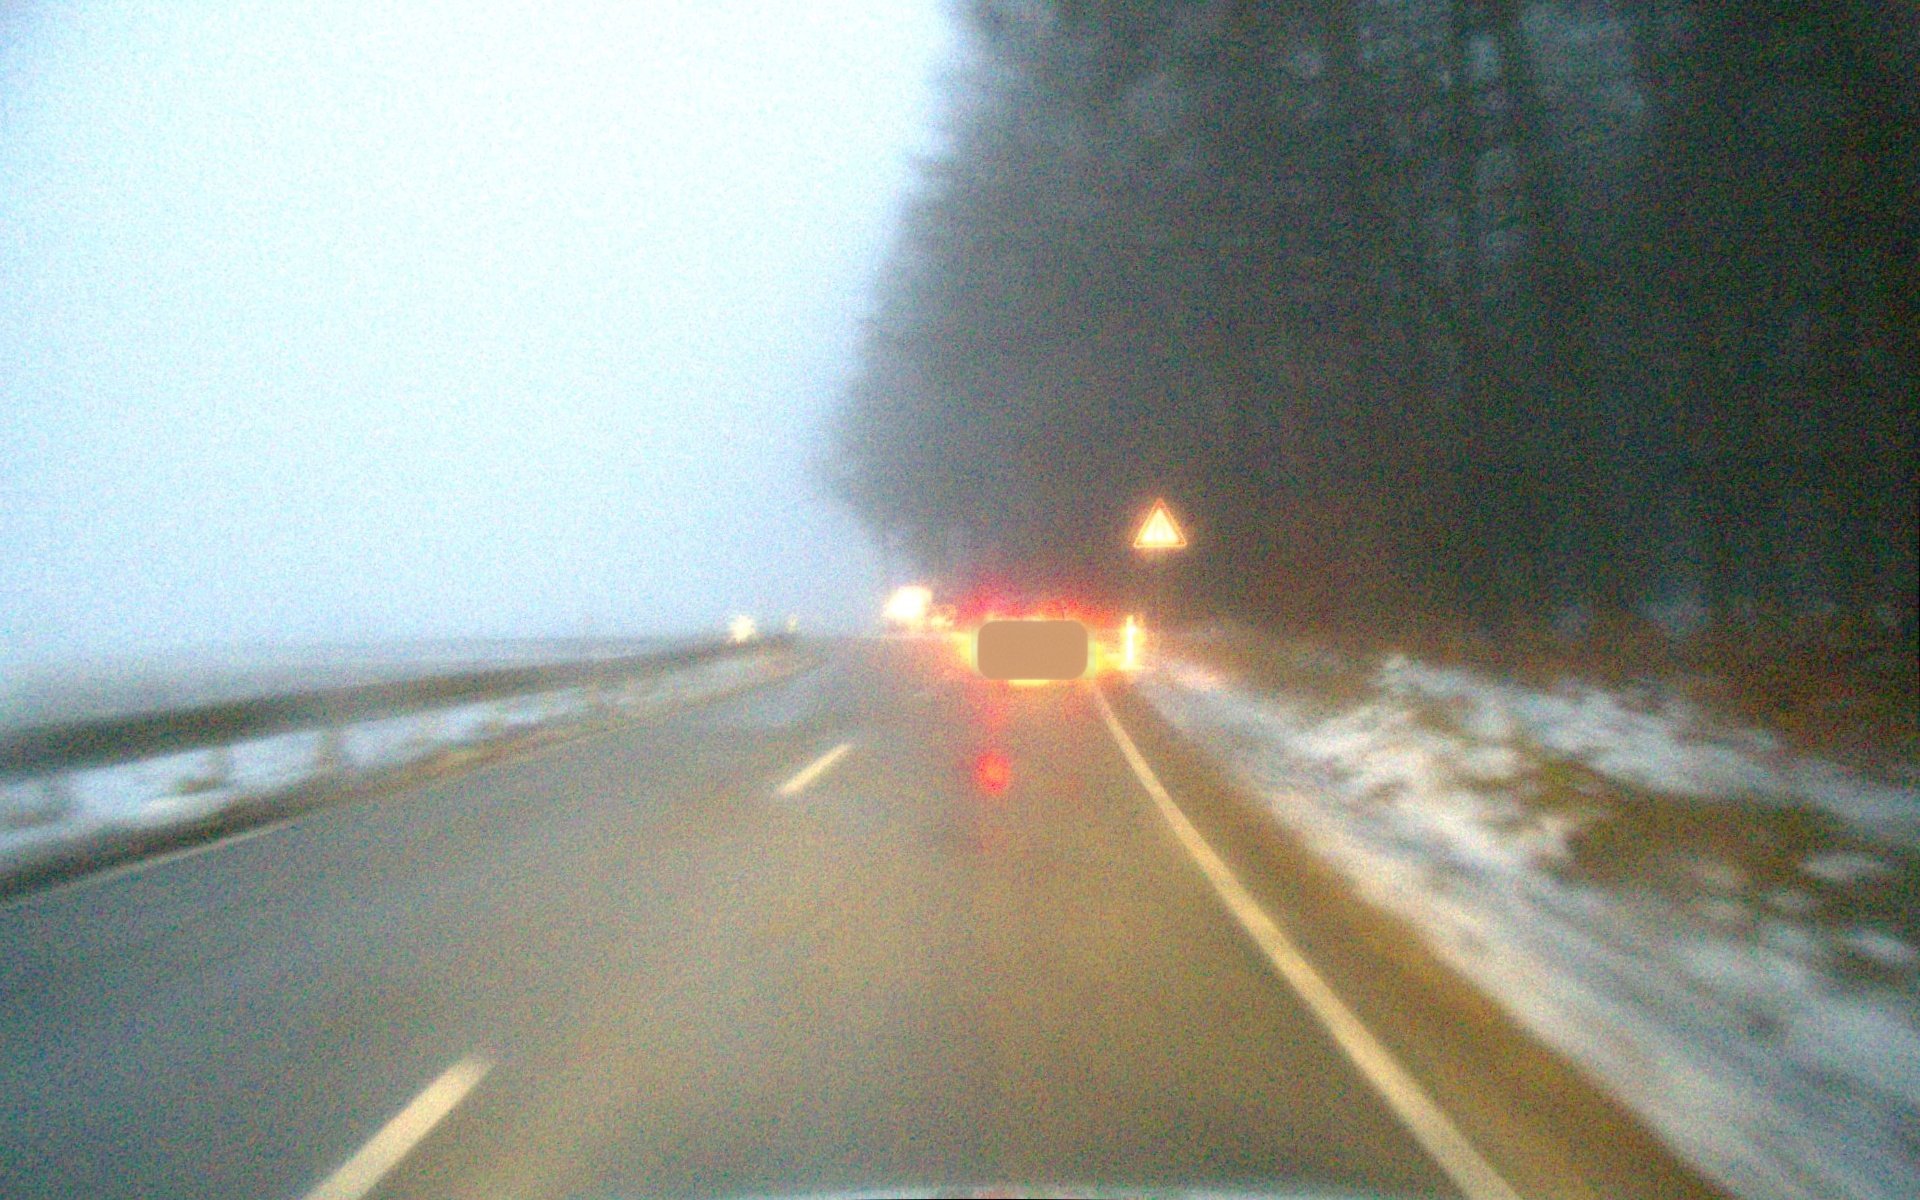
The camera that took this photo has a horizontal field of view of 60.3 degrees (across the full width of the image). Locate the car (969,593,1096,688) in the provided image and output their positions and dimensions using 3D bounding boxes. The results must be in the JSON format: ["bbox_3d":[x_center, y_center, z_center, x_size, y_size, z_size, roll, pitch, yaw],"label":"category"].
[{"bbox_3d":[1.161,0.643,27.397,1.905,1.405,4.000,2,-1,1],"label":"car"}]
